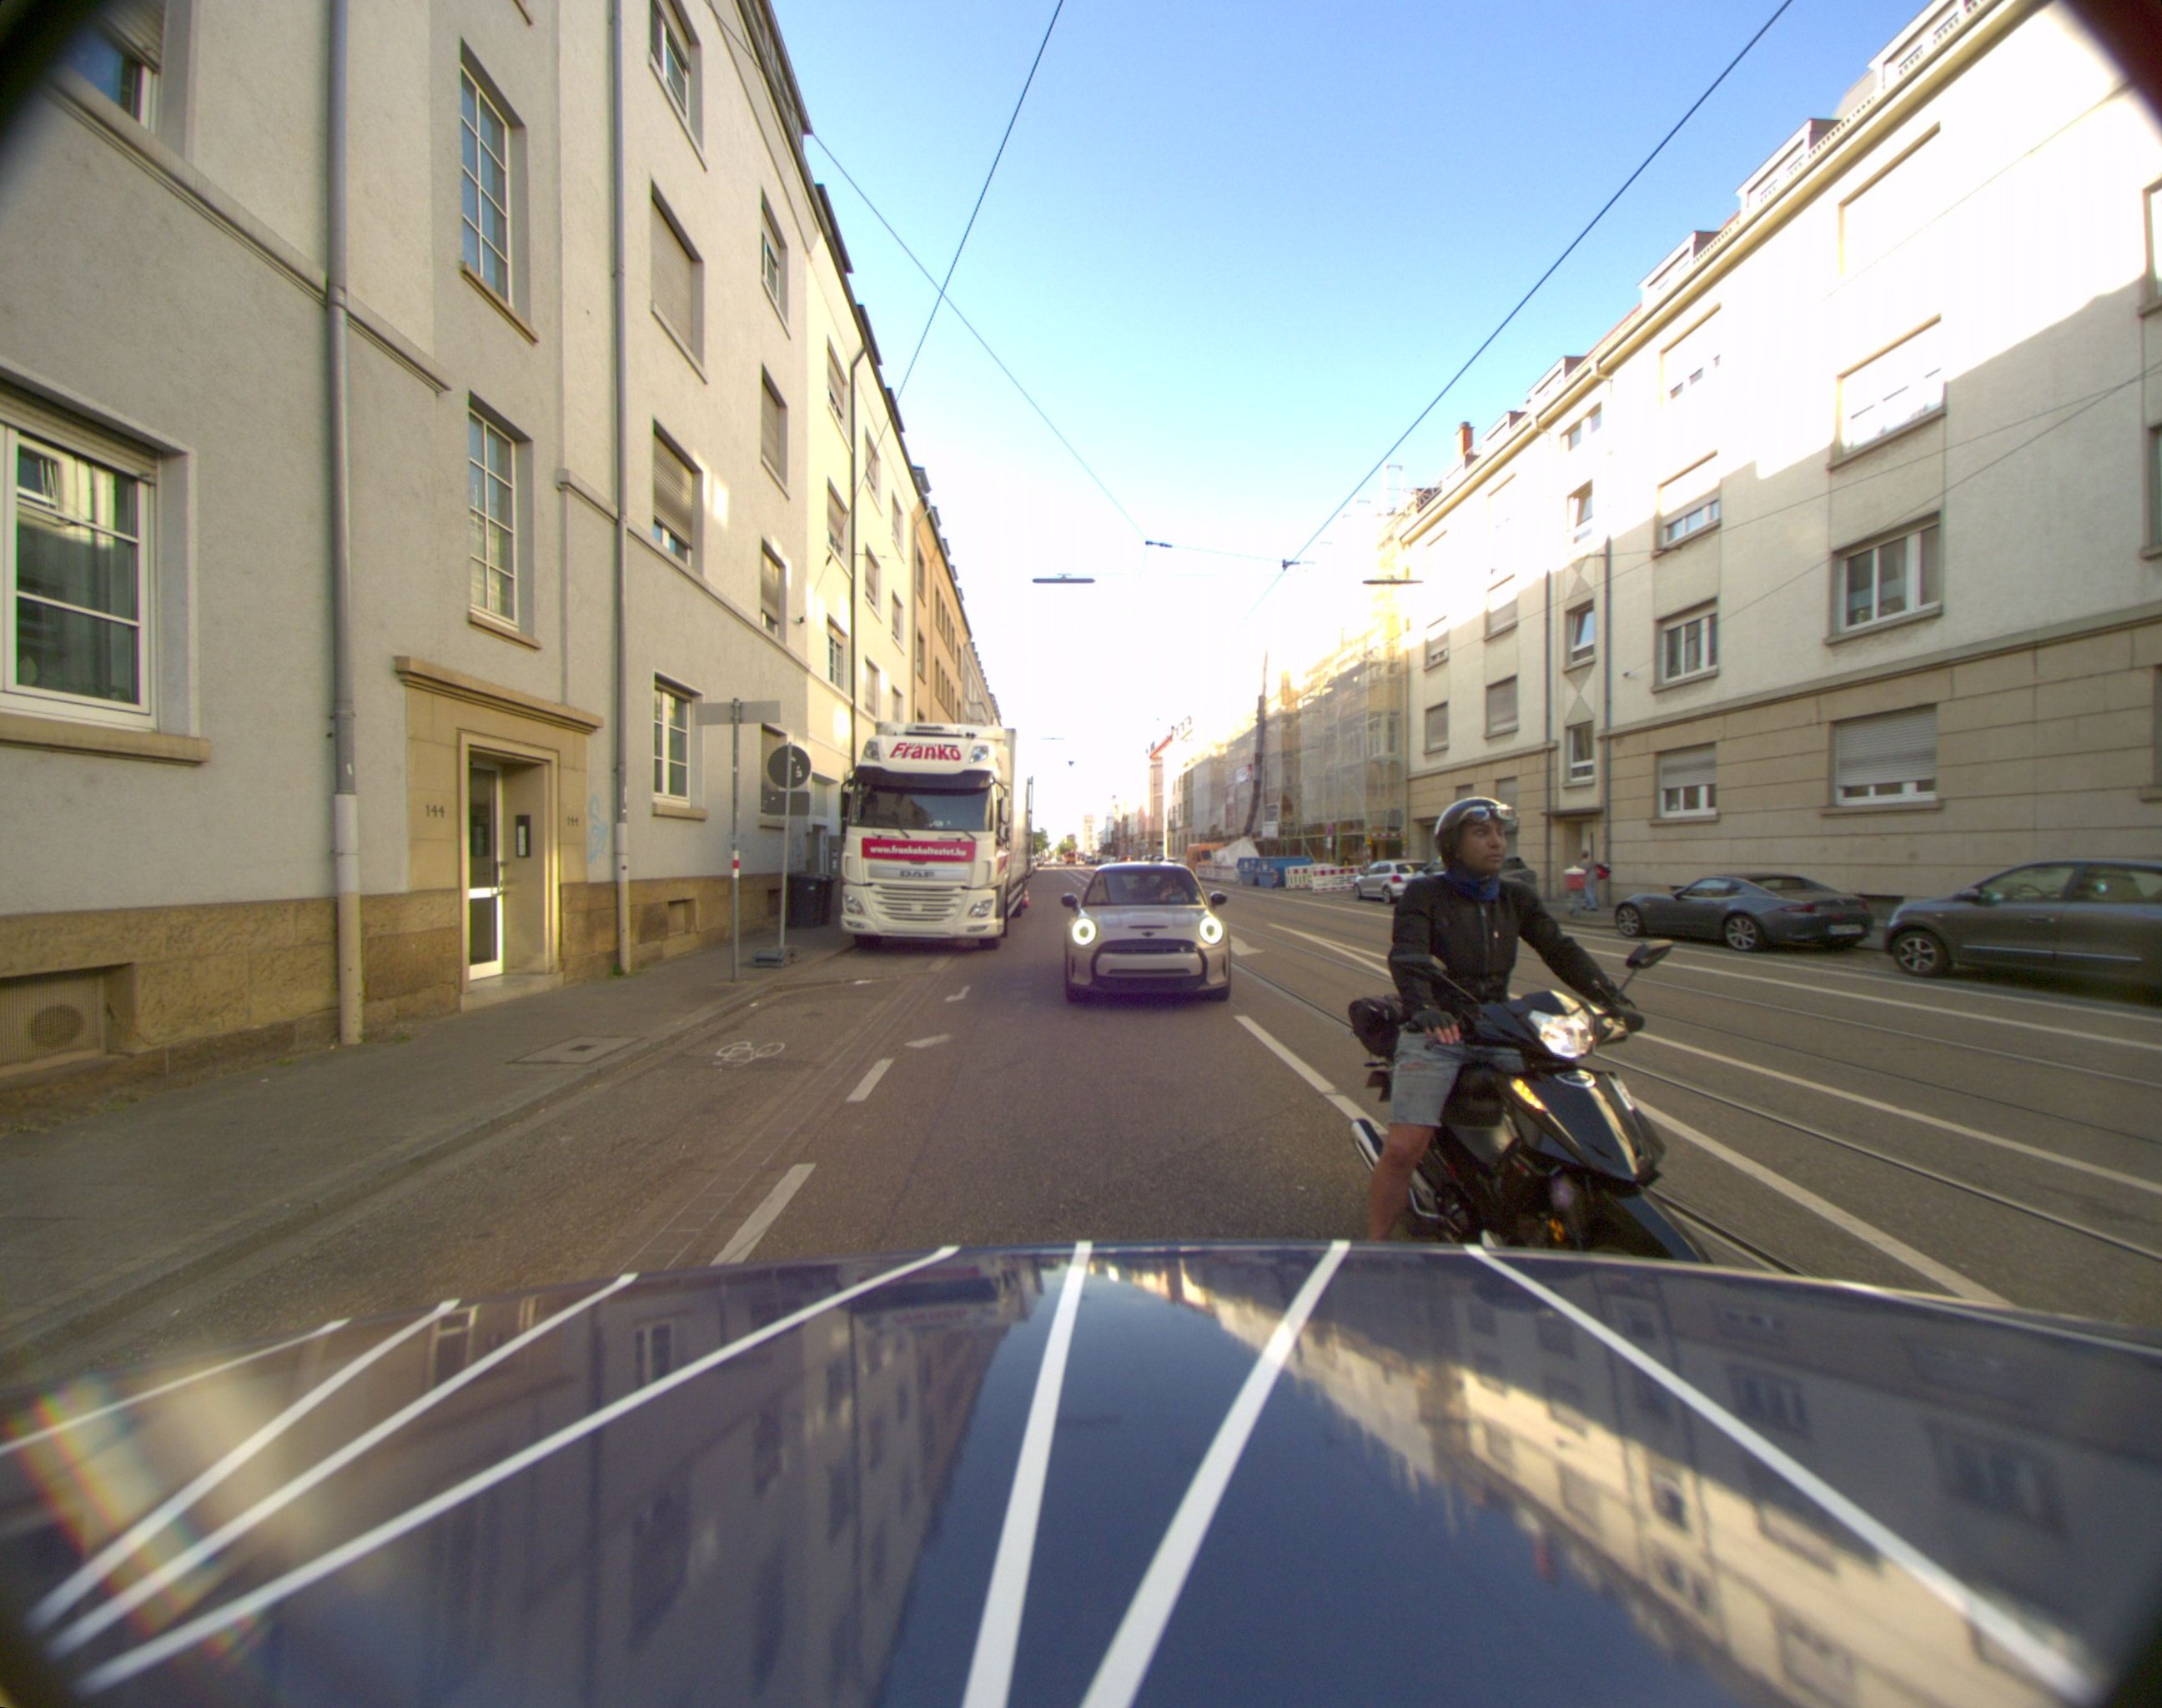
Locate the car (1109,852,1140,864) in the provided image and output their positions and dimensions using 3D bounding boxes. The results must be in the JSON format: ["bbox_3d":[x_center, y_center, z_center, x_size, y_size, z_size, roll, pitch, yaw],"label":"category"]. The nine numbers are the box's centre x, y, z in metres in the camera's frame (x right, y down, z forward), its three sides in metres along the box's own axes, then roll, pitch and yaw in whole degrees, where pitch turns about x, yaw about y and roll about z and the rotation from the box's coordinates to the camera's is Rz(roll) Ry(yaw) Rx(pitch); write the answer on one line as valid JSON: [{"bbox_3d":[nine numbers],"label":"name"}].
[{"bbox_3d":[6.017,0.588,104.459,3.998,1.468,2.149,-2,1,-2],"label":"car"}]

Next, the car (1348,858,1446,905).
[{"bbox_3d":[10.626,0.871,25.825,1.637,1.383,3.643,-2,1,-3],"label":"car"}]

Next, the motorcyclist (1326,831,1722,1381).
[{"bbox_3d":[1.321,0.699,2.391,0.862,1.496,0.598,-2,1,1],"label":"motorcyclist"}]

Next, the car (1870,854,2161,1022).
[{"bbox_3d":[11.417,0.837,8.398,1.670,1.563,3.496,-2,1,-2],"label":"car"}]

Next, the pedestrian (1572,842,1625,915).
[{"bbox_3d":[12.920,0.599,18.978,0.751,1.753,0.776,-2,1,1],"label":"pedestrian"}]

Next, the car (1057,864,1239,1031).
[{"bbox_3d":[0.618,0.892,9.044,1.692,1.495,4.000,0,0,0],"label":"car"}]

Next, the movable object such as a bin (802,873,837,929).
[{"bbox_3d":[-5.364,0.952,15.609,0.512,1.085,0.495,-2,1,-4],"label":"movable object such as a bin"}]

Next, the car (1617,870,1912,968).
[{"bbox_3d":[11.290,0.988,12.906,1.751,1.269,3.488,-2,1,-4],"label":"car"}]

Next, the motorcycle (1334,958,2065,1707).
[{"bbox_3d":[1.348,1.065,2.234,0.538,1.212,1.981,-2,1,1],"label":"motorcycle"}]

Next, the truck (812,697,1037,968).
[{"bbox_3d":[-2.653,-0.311,17.180,2.899,3.939,11.704,-2,0,-2],"label":"truck"}]

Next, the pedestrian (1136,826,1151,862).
[{"bbox_3d":[7.765,-1.295,94.323,1.723,4.377,1.153,-2,1,2],"label":"pedestrian"}]

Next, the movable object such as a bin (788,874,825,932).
[{"bbox_3d":[-5.419,0.956,15.012,0.512,1.085,0.495,-2,1,-4],"label":"movable object such as a bin"}]

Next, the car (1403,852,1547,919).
[{"bbox_3d":[10.837,0.792,21.239,1.712,1.582,4.112,-2,1,-3],"label":"car"}]
